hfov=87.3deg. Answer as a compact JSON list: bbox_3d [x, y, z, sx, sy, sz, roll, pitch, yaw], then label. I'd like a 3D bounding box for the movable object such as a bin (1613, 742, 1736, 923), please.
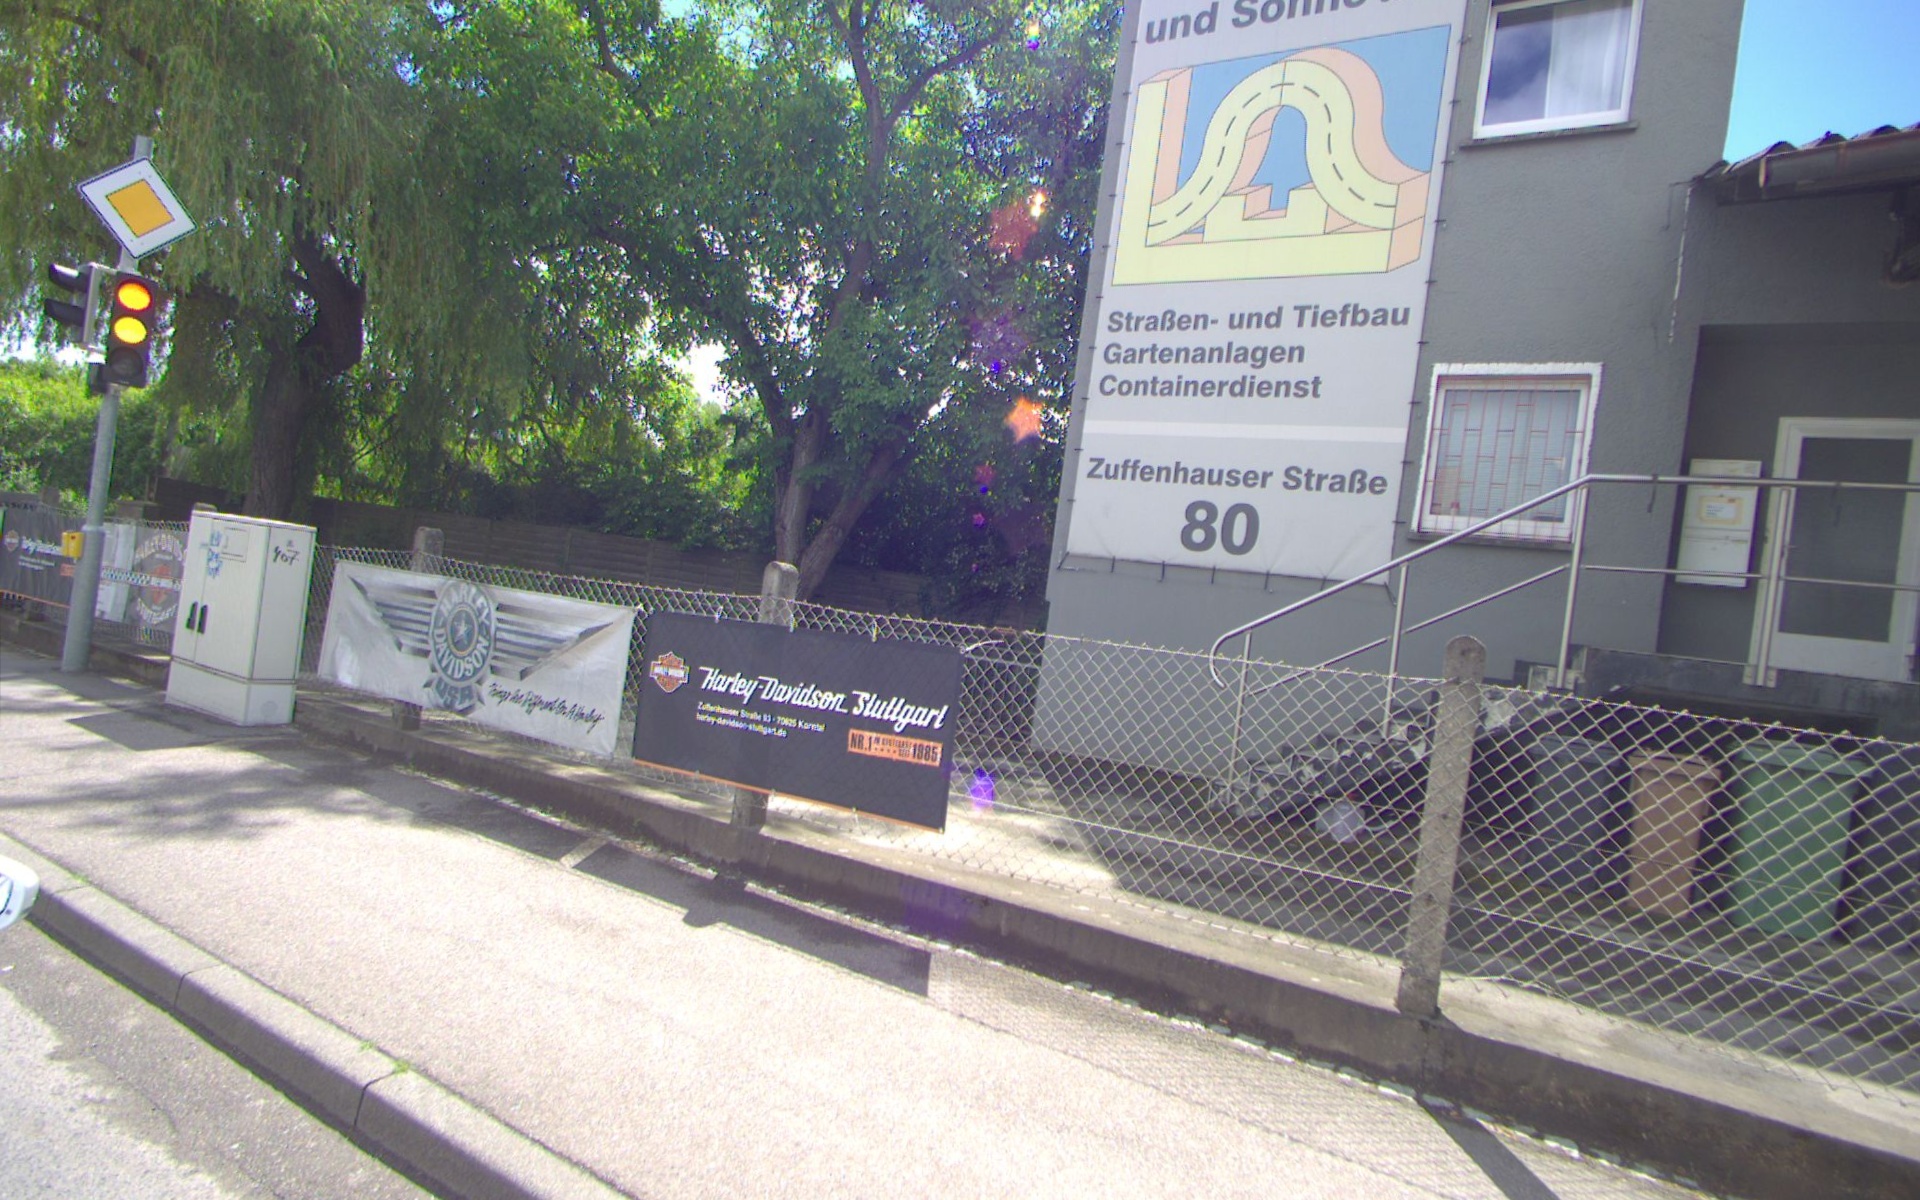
[{"bbox_3d":[4.263,1.362,6.027,0.466,0.941,0.482,7,-1,30],"label":"movable object such as a bin"}]

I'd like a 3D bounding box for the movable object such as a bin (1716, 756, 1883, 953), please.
[{"bbox_3d":[4.759,1.416,5.736,0.574,0.941,0.482,6,-1,30],"label":"movable object such as a bin"}]

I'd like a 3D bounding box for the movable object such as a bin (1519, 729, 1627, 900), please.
[{"bbox_3d":[3.818,1.313,6.290,0.466,0.941,0.482,7,-1,30],"label":"movable object such as a bin"}]
